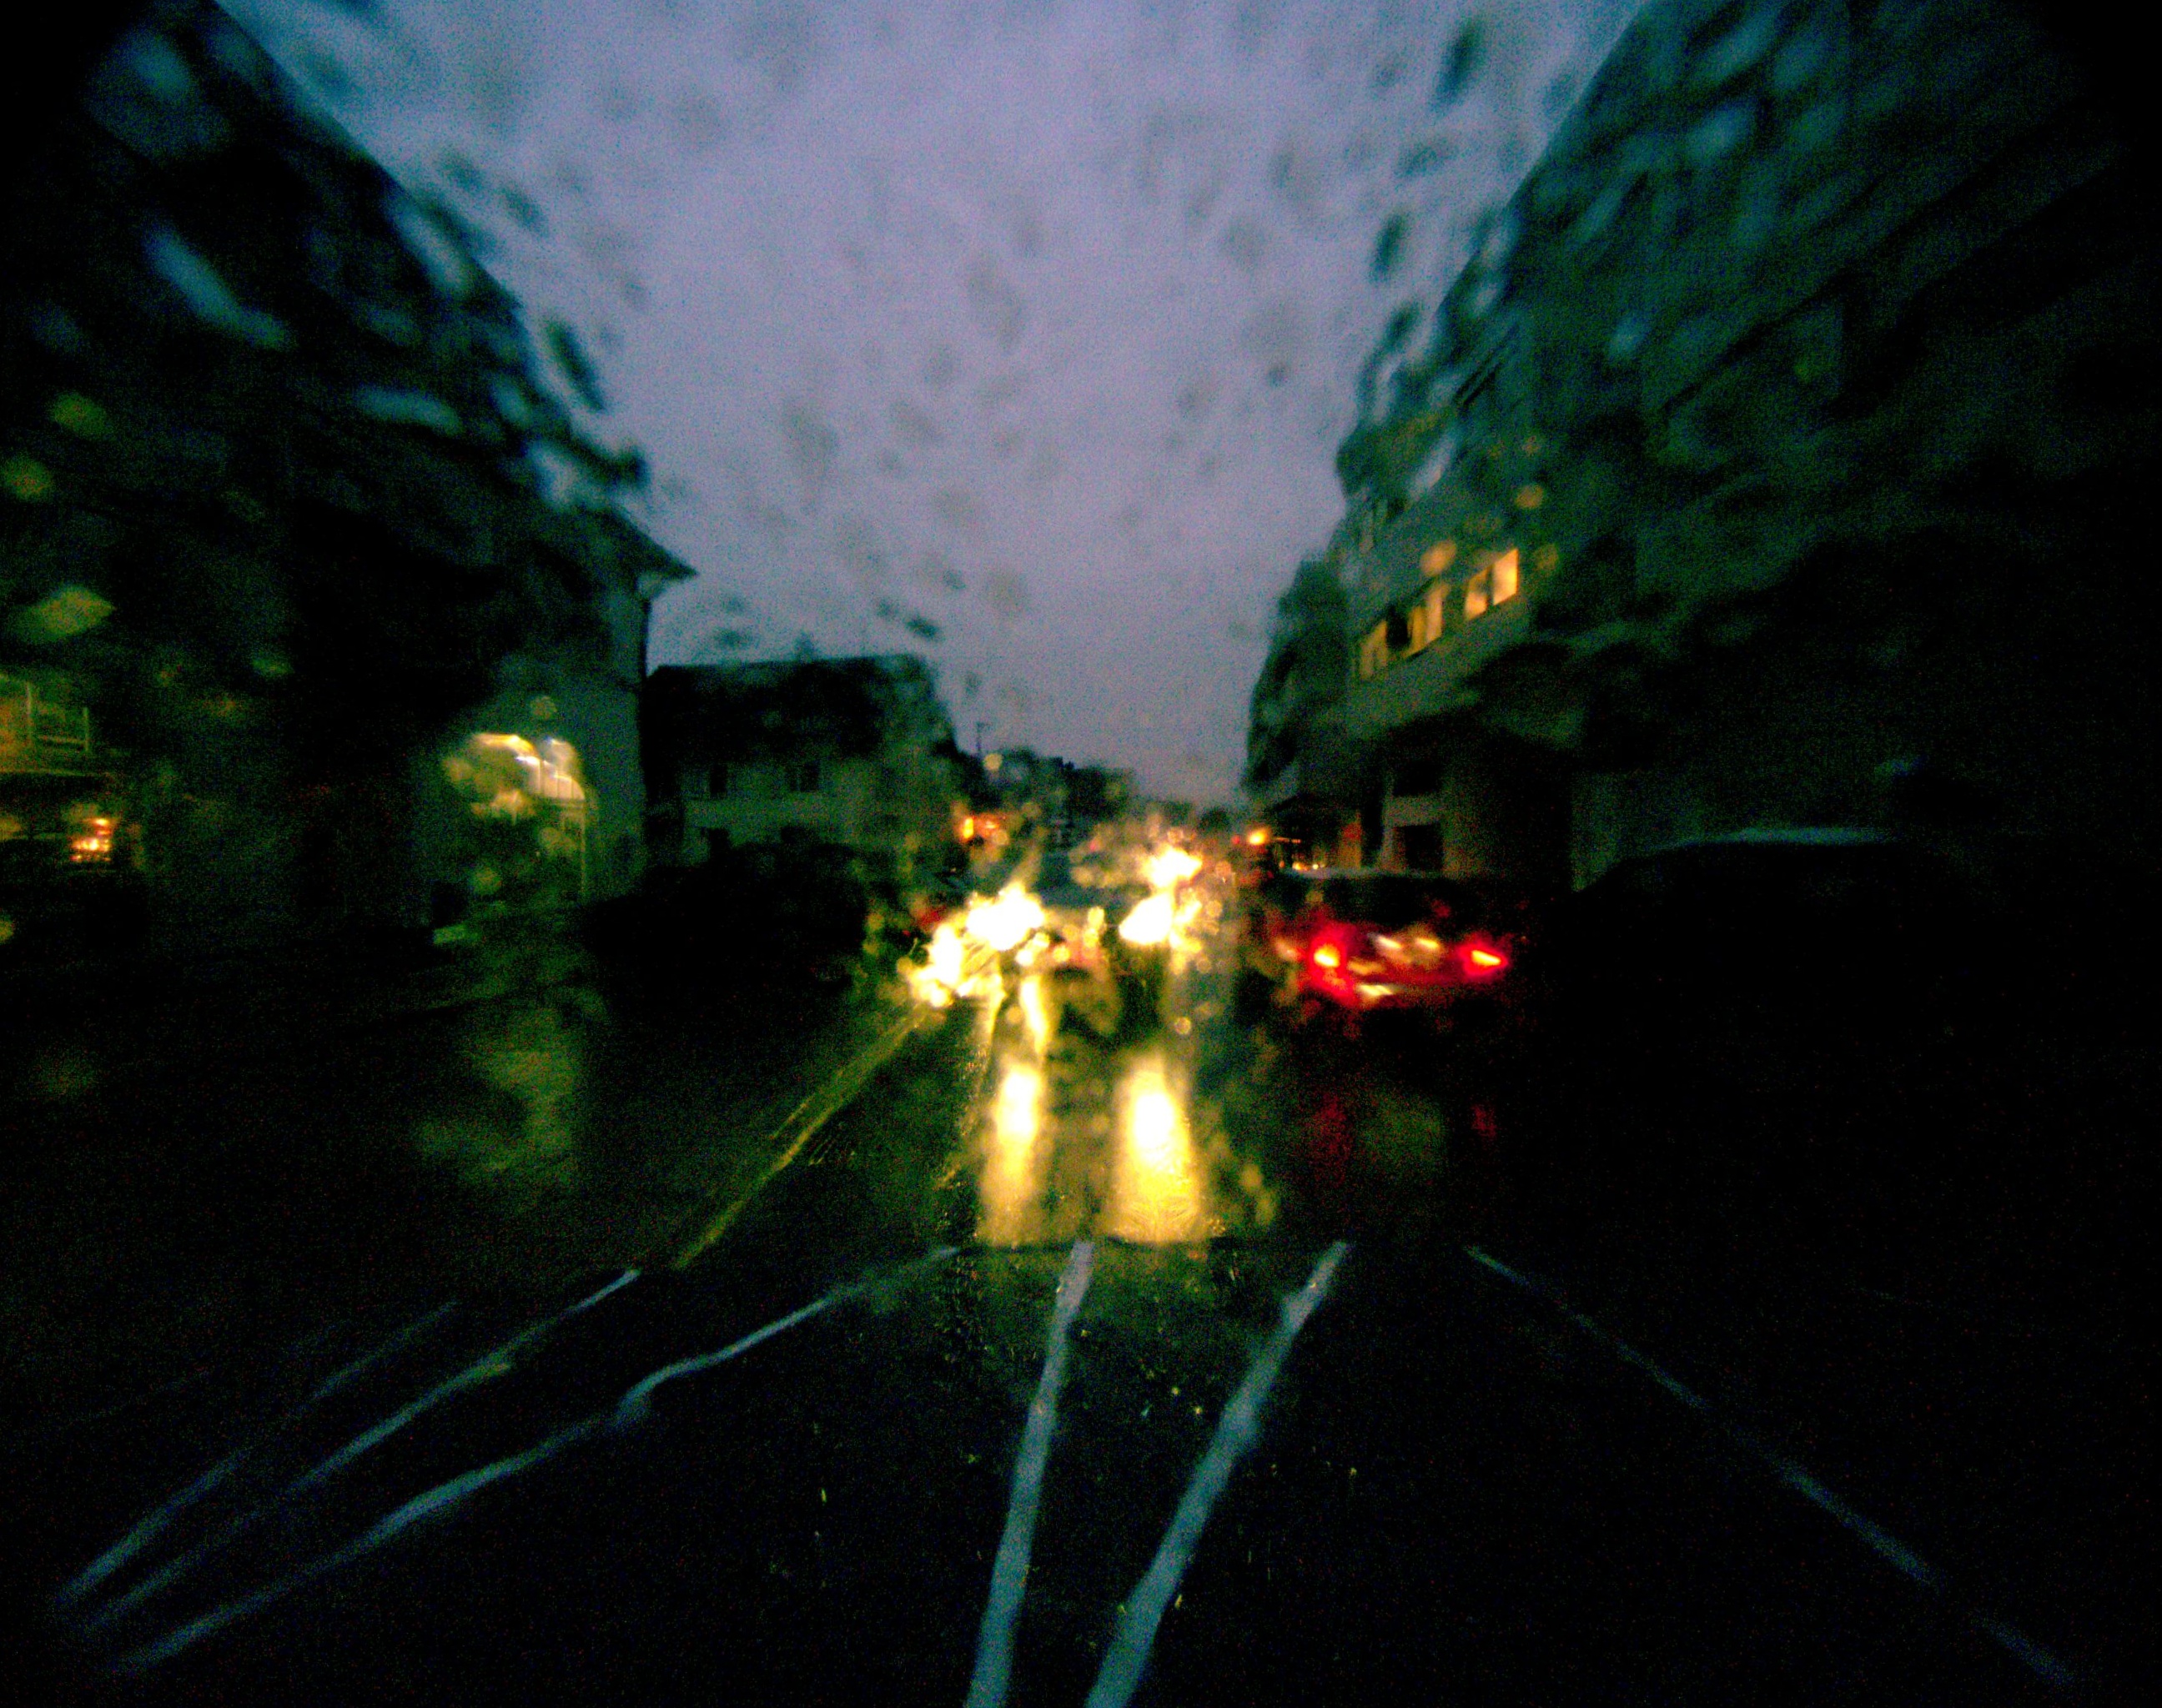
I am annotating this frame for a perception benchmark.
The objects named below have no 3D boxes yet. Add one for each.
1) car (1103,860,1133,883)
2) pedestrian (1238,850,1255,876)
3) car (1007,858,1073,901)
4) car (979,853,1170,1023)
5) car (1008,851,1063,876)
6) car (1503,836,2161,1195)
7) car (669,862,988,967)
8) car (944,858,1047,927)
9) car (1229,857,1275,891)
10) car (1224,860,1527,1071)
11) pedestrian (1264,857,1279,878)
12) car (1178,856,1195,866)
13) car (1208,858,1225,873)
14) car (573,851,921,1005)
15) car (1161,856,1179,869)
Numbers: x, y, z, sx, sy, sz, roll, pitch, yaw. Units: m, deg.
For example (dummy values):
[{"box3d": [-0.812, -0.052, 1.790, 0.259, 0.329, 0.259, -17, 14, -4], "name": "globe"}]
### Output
[{"box3d": [2.711, 1.261, 55.007, 1.797, 1.501, 4.003, 1, 0, 8], "name": "car"}, {"box3d": [12.448, 0.666, 57.067, 1.200, 1.927, 0.978, 0, 0, 16], "name": "pedestrian"}, {"box3d": [-1.480, 0.899, 29.082, 1.798, 1.452, 4.532, 1, 0, 6], "name": "car"}, {"box3d": [-0.071, 0.854, 9.709, 1.879, 1.622, 3.999, -2, 0, 0], "name": "car"}, {"box3d": [-2.991, 0.608, 50.428, 3.295, 1.433, 1.687, 3, 1, 8], "name": "car"}, {"box3d": [4.969, 0.750, 5.431, 1.799, 1.633, 3.812, -2, 0, 1], "name": "car"}, {"box3d": [-3.855, 0.911, 12.228, 4.478, 1.464, 1.898, 1, 0, 0], "name": "car"}, {"box3d": [-2.070, 0.888, 19.772, 1.886, 1.538, 4.672, 1, 0, 3], "name": "car"}, {"box3d": [7.930, 0.899, 35.554, 1.678, 1.438, 4.430, -1, 0, 7], "name": "car"}, {"box3d": [2.519, 0.847, 7.371, 1.642, 1.526, 3.406, -1, 0, 1], "name": "car"}, {"box3d": [12.039, 0.857, 48.018, 0.757, 1.302, 0.829, -1, 0, 7], "name": "pedestrian"}, {"box3d": [16.210, 1.060, 116.610, 1.796, 1.501, 4.005, 1, 0, 17], "name": "car"}, {"box3d": [15.282, 1.288, 85.760, 1.724, 1.604, 3.819, -3, -1, 10], "name": "car"}, {"box3d": [-3.894, 0.849, 9.373, 3.514, 1.671, 1.715, 1, 0, -4], "name": "car"}, {"box3d": [11.281, 1.090, 96.025, 1.797, 1.501, 4.004, 1, 0, 13], "name": "car"}]
